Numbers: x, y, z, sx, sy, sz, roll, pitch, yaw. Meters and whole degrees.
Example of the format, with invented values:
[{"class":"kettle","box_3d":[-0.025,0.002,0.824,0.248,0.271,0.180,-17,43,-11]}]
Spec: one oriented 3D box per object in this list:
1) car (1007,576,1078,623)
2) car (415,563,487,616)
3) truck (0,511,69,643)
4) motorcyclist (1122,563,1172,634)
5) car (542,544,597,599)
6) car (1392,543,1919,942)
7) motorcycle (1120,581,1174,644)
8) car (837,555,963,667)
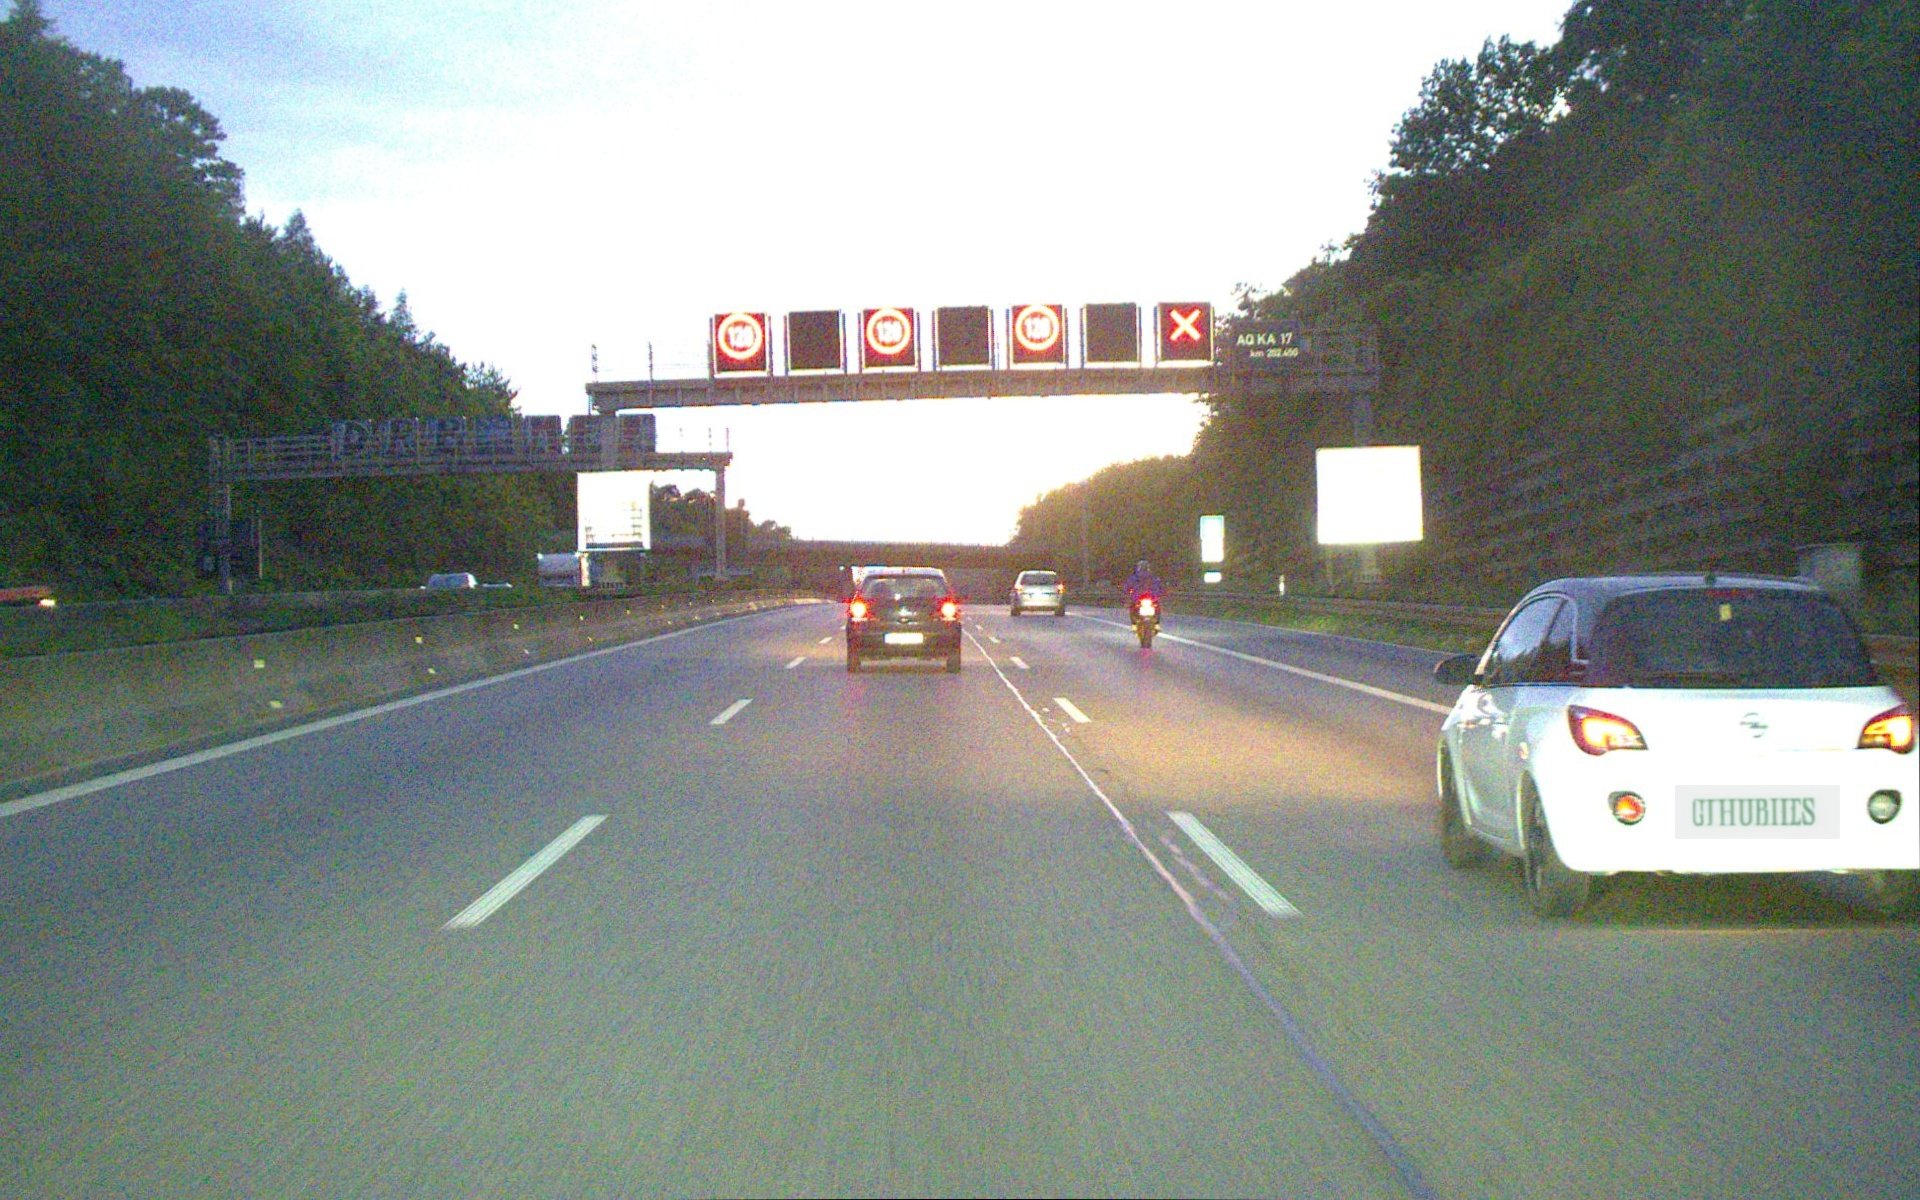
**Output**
[{"class":"car","box_3d":[2.729,-0.012,114.192,1.865,1.489,4.399,1,0,-5]},{"class":"car","box_3d":[-16.612,-0.358,112.316,1.736,1.709,4.715,0,1,-1]},{"class":"truck","box_3d":[-19.434,-0.437,65.088,2.461,2.501,9.754,0,1,1]},{"class":"motorcyclist","box_3d":[3.413,-0.034,62.939,0.829,1.287,1.190,0,0,-1]},{"class":"car","box_3d":[-21.179,-1.524,186.667,1.982,2.871,7.834,-1,0,1]},{"class":"car","box_3d":[3.214,0.535,15.969,1.825,1.470,4.399,-1,2,0]},{"class":"motorcycle","box_3d":[3.418,0.211,63.009,0.829,1.130,2.476,0,0,-1]},{"class":"car","box_3d":[-0.829,0.158,49.336,1.704,1.504,4.232,1,0,0]}]
